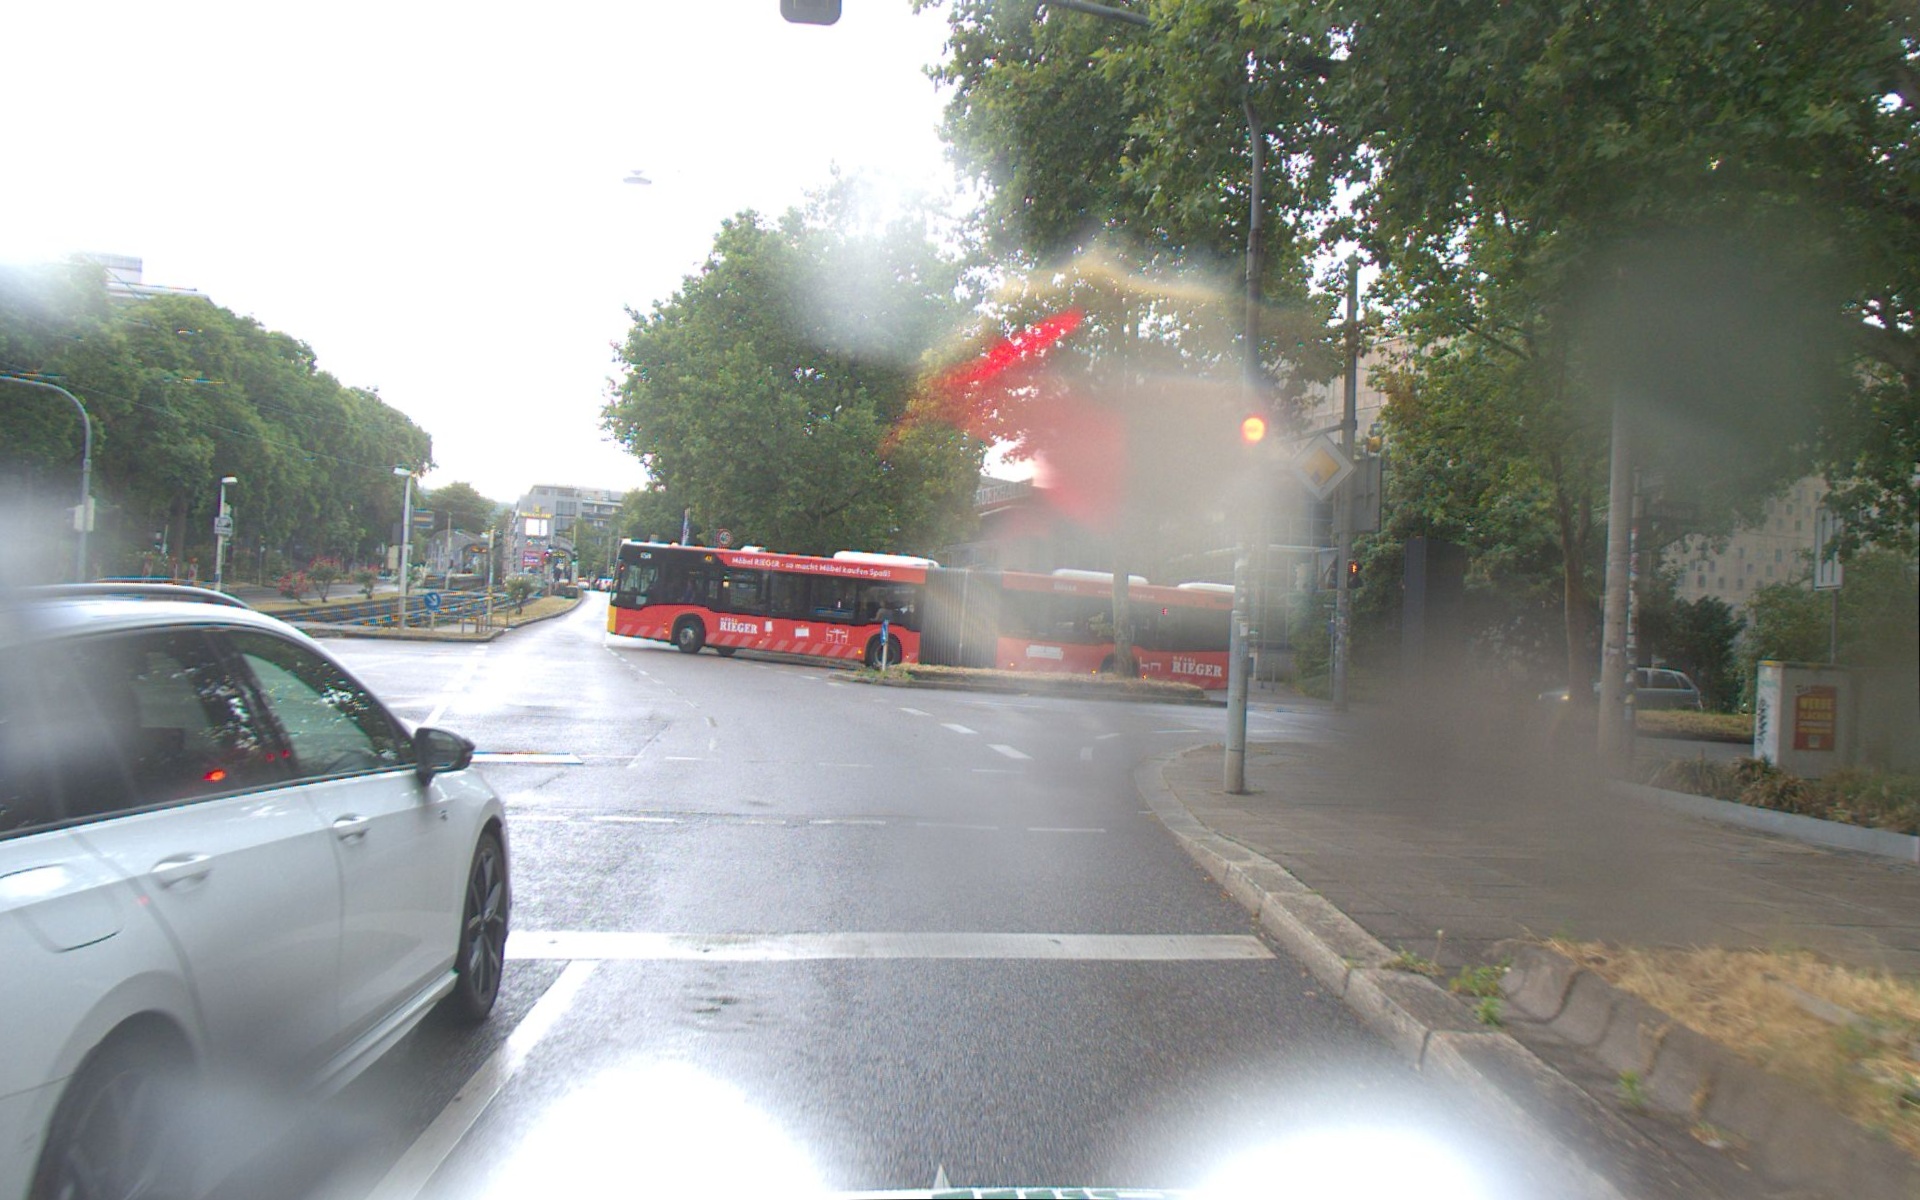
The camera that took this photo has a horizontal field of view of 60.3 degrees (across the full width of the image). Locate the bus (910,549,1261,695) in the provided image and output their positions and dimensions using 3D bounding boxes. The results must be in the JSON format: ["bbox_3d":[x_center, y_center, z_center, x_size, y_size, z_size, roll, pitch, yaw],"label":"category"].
[{"bbox_3d":[3.264,0.595,44.408,8.971,3.165,2.663,4,-1,-2],"label":"bus"}]

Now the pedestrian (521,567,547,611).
[{"bbox_3d":[-16.990,-0.434,66.006,0.723,1.668,0.870,4,-1,-4],"label":"pedestrian"}]

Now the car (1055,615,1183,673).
[{"bbox_3d":[6.386,1.763,66.603,4.682,1.977,1.986,5,-1,-23],"label":"car"}]

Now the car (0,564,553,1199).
[{"bbox_3d":[-2.303,0.721,3.922,1.645,1.604,4.252,2,0,-1],"label":"car"}]

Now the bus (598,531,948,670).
[{"bbox_3d":[-5.208,-0.001,45.934,9.229,3.165,2.559,4,-1,17],"label":"bus"}]

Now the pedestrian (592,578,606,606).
[{"bbox_3d":[-44.413,-0.941,203.499,1.328,3.308,0.982,4,-1,-7],"label":"pedestrian"}]

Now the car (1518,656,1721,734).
[{"bbox_3d":[15.454,2.210,38.881,3.912,1.467,1.997,4,-1,-7],"label":"car"}]
